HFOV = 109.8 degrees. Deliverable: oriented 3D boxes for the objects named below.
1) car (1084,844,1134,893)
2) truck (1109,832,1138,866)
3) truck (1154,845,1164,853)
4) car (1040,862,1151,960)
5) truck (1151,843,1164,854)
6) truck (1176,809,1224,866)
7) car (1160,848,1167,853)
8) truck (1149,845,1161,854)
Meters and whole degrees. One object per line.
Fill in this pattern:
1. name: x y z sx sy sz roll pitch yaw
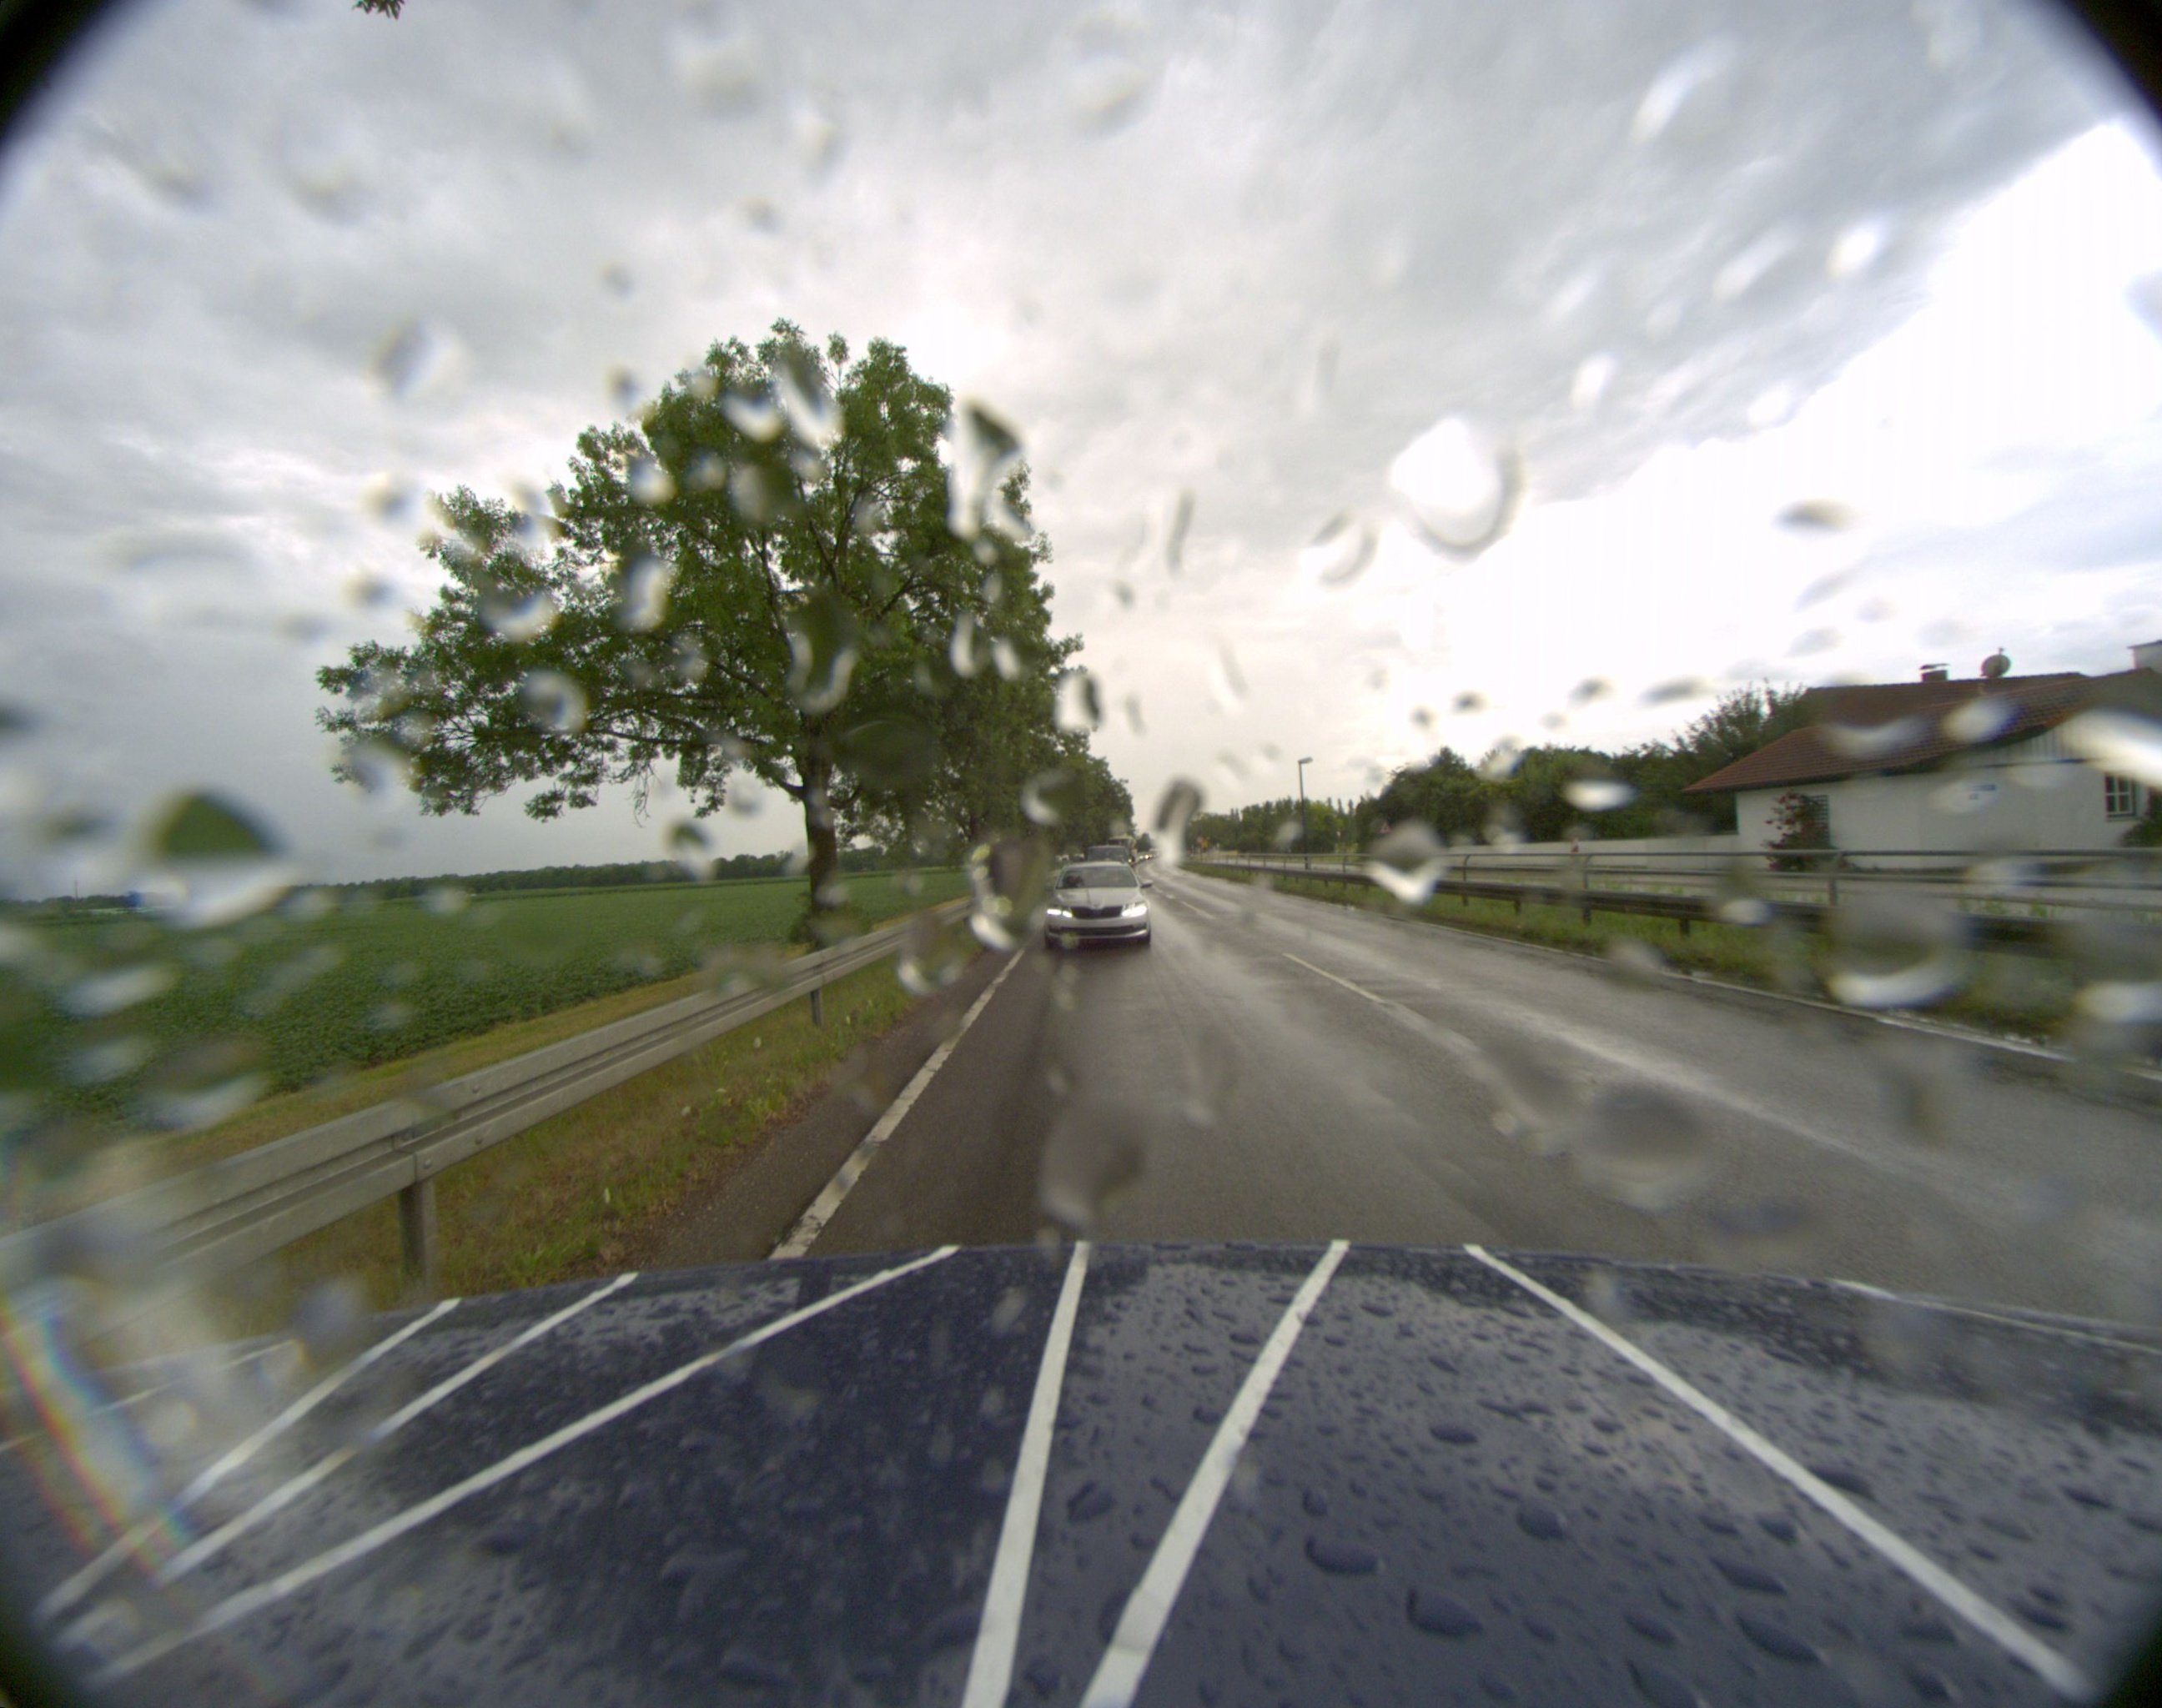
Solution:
1. car: 1.097 0.566 31.466 1.903 1.884 4.000 -1 0 0
2. truck: 4.705 -0.546 85.698 2.751 3.547 8.387 -3 0 1
3. truck: 24.447 -1.500 238.796 2.800 2.461 7.169 -3 0 3
4. car: 0.227 0.901 13.789 1.705 1.438 4.000 -1 0 0
5. truck: 19.610 -1.394 194.844 2.800 2.461 7.169 -3 0 3
6. truck: 11.343 -1.503 73.214 3.256 5.004 7.784 -4 0 2
7. car: 27.921 -1.236 257.723 1.811 1.723 4.027 -3 0 1
8. truck: 20.605 -1.283 211.172 2.800 2.461 7.169 -3 0 3
